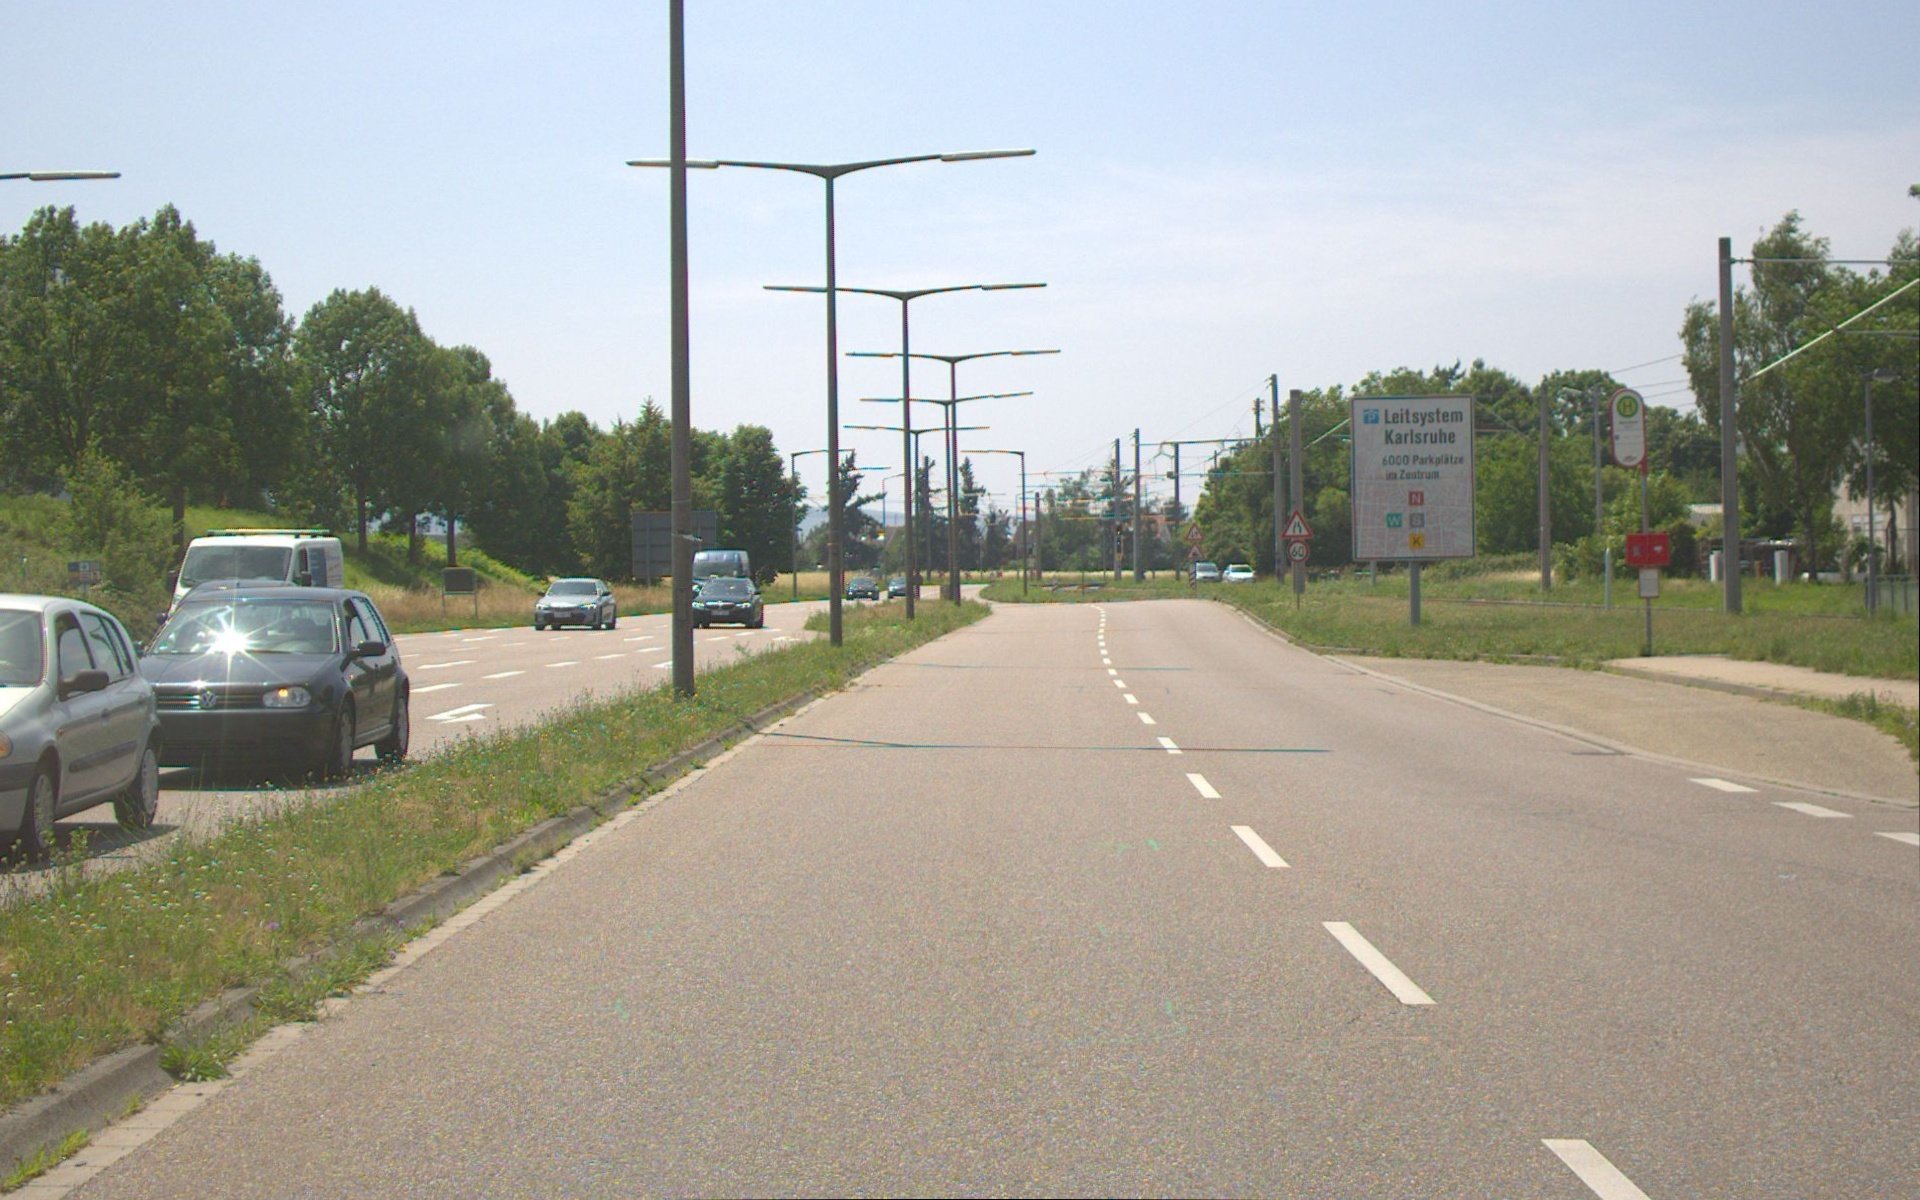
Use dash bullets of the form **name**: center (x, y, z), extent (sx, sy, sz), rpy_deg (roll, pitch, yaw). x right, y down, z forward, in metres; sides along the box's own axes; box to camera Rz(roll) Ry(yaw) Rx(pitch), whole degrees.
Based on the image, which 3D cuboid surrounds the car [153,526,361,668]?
- **car**: center (-11.797, -0.063, 58.087), extent (2.249, 2.265, 5.448), rpy_deg (1, 0, 2)

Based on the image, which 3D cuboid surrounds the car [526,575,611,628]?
- **car**: center (-11.022, 0.029, 97.102), extent (1.831, 1.444, 4.851), rpy_deg (-1, 0, 0)

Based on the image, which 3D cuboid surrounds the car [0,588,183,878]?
- **car**: center (-5.575, 0.671, 19.391), extent (1.560, 1.418, 3.854), rpy_deg (0, 1, -1)

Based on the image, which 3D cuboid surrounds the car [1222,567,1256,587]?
- **car**: center (17.225, -1.440, 212.509), extent (1.562, 1.175, 3.080), rpy_deg (-1, 0, -5)

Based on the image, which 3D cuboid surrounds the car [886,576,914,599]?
- **car**: center (-3.934, -0.823, 225.509), extent (1.692, 1.486, 4.000), rpy_deg (-1, 0, 1)

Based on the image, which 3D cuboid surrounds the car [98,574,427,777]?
- **car**: center (-5.255, 0.523, 26.397), extent (1.676, 1.429, 4.191), rpy_deg (0, 0, 0)

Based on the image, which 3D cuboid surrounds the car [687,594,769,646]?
- **car**: center (-6.757, 0.565, 100.367), extent (1.731, 1.453, 4.564), rpy_deg (-1, 0, 4)
